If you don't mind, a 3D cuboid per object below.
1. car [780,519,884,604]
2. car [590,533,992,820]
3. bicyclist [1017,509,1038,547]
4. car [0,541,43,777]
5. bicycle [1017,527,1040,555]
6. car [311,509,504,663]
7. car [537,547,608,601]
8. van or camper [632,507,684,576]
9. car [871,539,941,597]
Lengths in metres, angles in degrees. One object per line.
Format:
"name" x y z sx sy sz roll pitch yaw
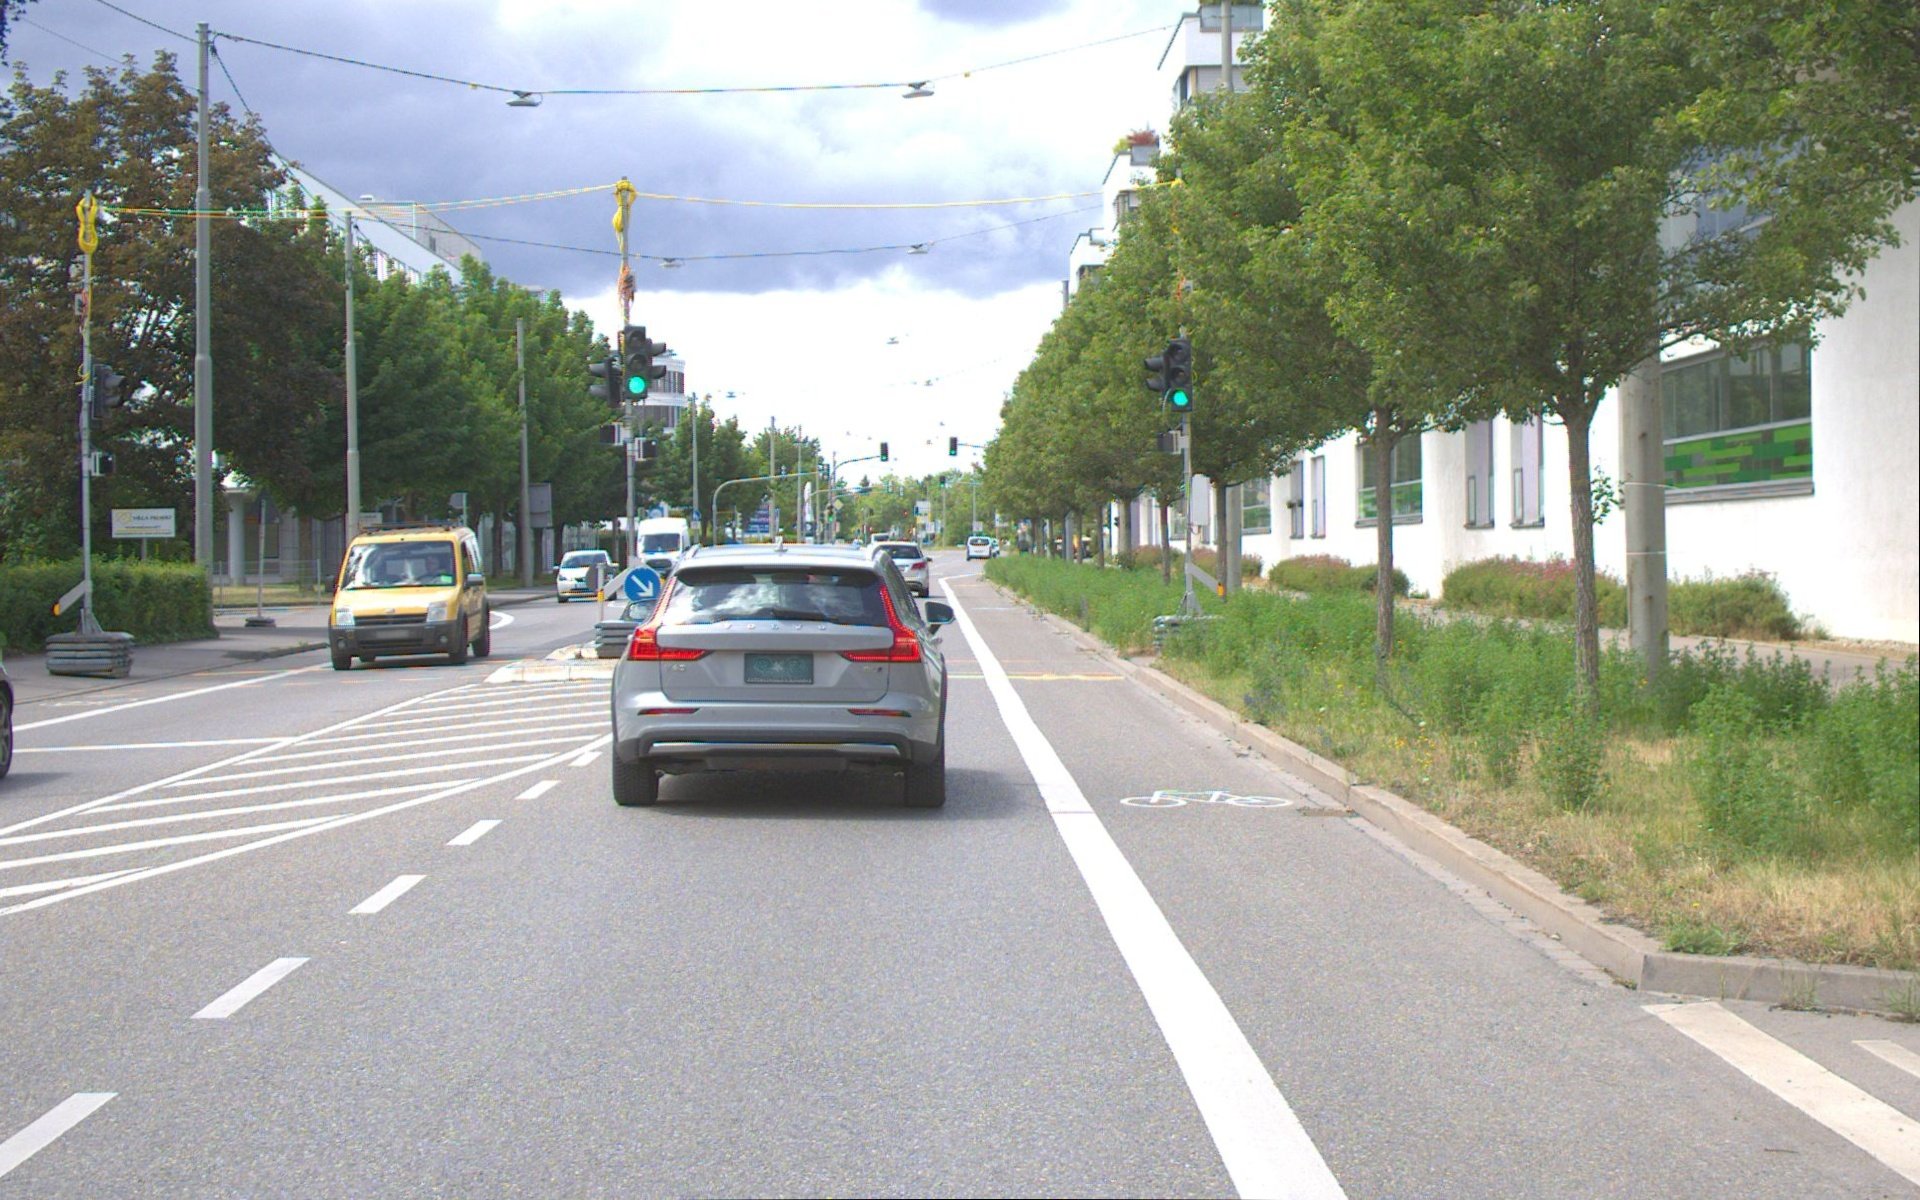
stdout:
"car" -2.324 -0.728 63.145 1.854 1.508 4.001 0 1 -1
"car" -0.883 0.366 20.215 1.854 1.508 4.000 0 1 5
"bicyclist" 3.635 -3.891 185.389 1.014 2.007 1.131 -2 1 -1
"car" -7.228 0.445 21.616 1.749 1.550 4.402 -2 1 -1
"bicycle" 3.684 -3.180 185.381 1.067 1.448 2.978 -2 1 -1
"car" -7.298 -0.226 45.827 1.841 1.898 4.686 -2 1 -1
"car" -11.288 -0.778 100.275 1.661 1.510 4.000 -1 1 -1
"van or camper" -12.347 -2.404 140.648 1.993 2.724 6.054 -2 1 -5
"car" -1.462 -0.880 92.311 1.845 1.508 4.001 0 1 -1
